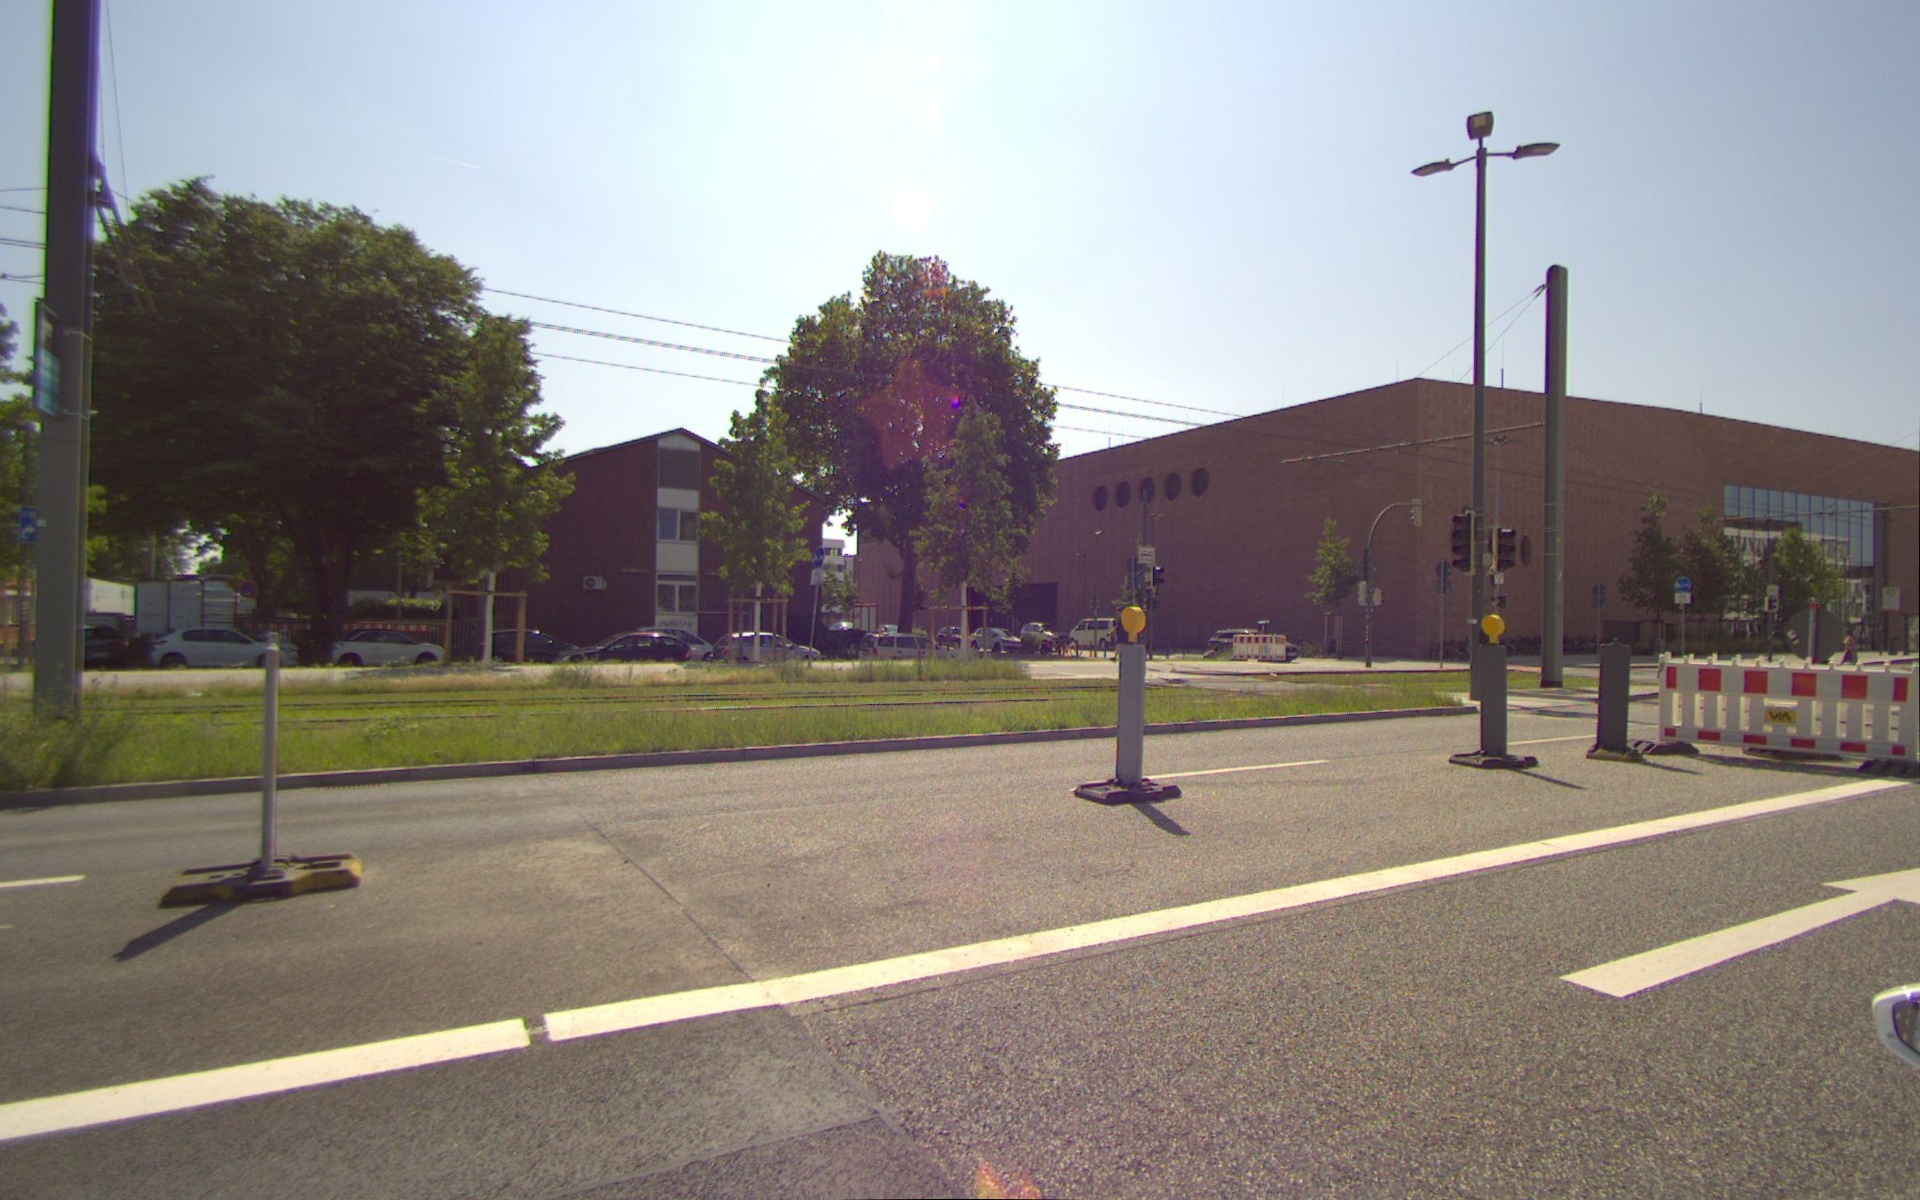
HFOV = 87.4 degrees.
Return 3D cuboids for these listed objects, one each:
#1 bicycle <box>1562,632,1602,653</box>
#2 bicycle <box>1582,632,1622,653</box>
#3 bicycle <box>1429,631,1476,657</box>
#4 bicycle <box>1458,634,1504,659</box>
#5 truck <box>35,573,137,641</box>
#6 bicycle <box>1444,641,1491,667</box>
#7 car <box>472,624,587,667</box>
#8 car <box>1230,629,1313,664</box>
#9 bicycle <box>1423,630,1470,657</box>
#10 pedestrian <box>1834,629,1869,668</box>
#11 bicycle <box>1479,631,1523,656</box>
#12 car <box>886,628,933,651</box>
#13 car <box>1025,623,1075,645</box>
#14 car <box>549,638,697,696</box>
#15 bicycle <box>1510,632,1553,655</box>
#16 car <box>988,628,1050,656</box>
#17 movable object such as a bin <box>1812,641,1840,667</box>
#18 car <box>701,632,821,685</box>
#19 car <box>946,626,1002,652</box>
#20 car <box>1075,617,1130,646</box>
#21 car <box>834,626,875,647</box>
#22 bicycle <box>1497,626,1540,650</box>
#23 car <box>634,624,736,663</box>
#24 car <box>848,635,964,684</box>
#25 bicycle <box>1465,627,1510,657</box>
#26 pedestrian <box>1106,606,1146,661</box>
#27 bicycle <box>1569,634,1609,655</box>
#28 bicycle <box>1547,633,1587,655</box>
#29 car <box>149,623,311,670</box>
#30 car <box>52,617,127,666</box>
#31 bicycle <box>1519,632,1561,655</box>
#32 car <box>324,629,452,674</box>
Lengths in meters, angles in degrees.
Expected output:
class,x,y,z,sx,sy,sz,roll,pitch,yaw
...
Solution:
class,x,y,z,sx,sy,sz,roll,pitch,yaw
bicycle,37.861,2.561,61.157,0.535,1.228,2.033,1,0,-40
bicycle,39.838,2.627,62.375,0.535,1.228,2.033,1,0,-40
bicycle,24.427,2.172,49.869,0.535,1.228,2.033,1,0,-40
bicycle,26.450,2.350,51.044,0.535,1.228,2.032,1,0,-42
truck,-58.860,0.332,67.993,2.856,4.136,12.538,2,1,-30
bicycle,25.507,2.687,50.489,0.535,1.228,2.033,1,0,-40
car,-16.012,1.669,37.433,3.747,1.476,1.529,1,0,-33
car,14.049,2.072,45.480,1.555,1.388,3.461,1,0,-30
bicycle,23.843,2.127,49.293,0.535,1.228,2.033,1,0,-40
pedestrian,36.935,2.005,41.630,0.915,1.583,0.793,1,0,28
bicycle,28.945,2.313,53.788,0.535,1.228,2.033,1,0,-40
car,-3.598,2.750,70.876,1.973,1.421,3.976,2,-1,-24
car,6.204,2.341,69.552,1.693,1.339,3.479,3,-1,-31
car,-11.420,2.267,34.125,4.478,1.784,1.690,3,-1,-30
bicycle,31.933,2.421,56.181,0.535,1.228,2.033,1,0,-40
car,3.395,2.427,58.579,1.973,1.421,3.976,2,-1,-24
movable object such as a bin,36.210,2.265,42.018,0.702,1.045,0.793,1,0,28
car,-7.214,2.114,36.523,3.893,1.784,1.690,3,-1,-30
car,0.818,2.421,62.688,1.973,1.421,3.976,2,-1,-24
car,9.117,2.013,64.524,1.674,1.712,3.527,1,0,-29
car,-8.269,2.814,78.309,1.973,1.421,3.976,2,-1,-24
bicycle,30.737,2.101,55.316,0.535,1.228,2.033,1,0,-40
car,-11.239,1.767,41.105,3.743,1.476,1.531,1,0,-30
car,-2.110,2.372,39.696,4.251,1.784,1.690,3,-1,-30
bicycle,27.474,2.159,52.319,0.535,1.472,2.033,1,0,-40
pedestrian,5.747,1.158,34.822,1.093,1.871,0.808,1,0,-27
bicycle,38.966,2.740,62.214,0.535,1.228,2.033,1,0,-40
bicycle,36.189,2.609,59.911,0.740,1.228,1.870,2,-1,-36
car,-24.390,1.541,33.764,4.217,1.476,1.531,1,0,-30
car,-29.135,1.363,33.592,3.699,1.476,1.534,1,0,44
bicycle,33.232,2.496,57.555,0.535,1.228,2.033,1,0,-40
car,-19.965,1.792,35.105,3.749,1.476,1.528,2,-1,-35
